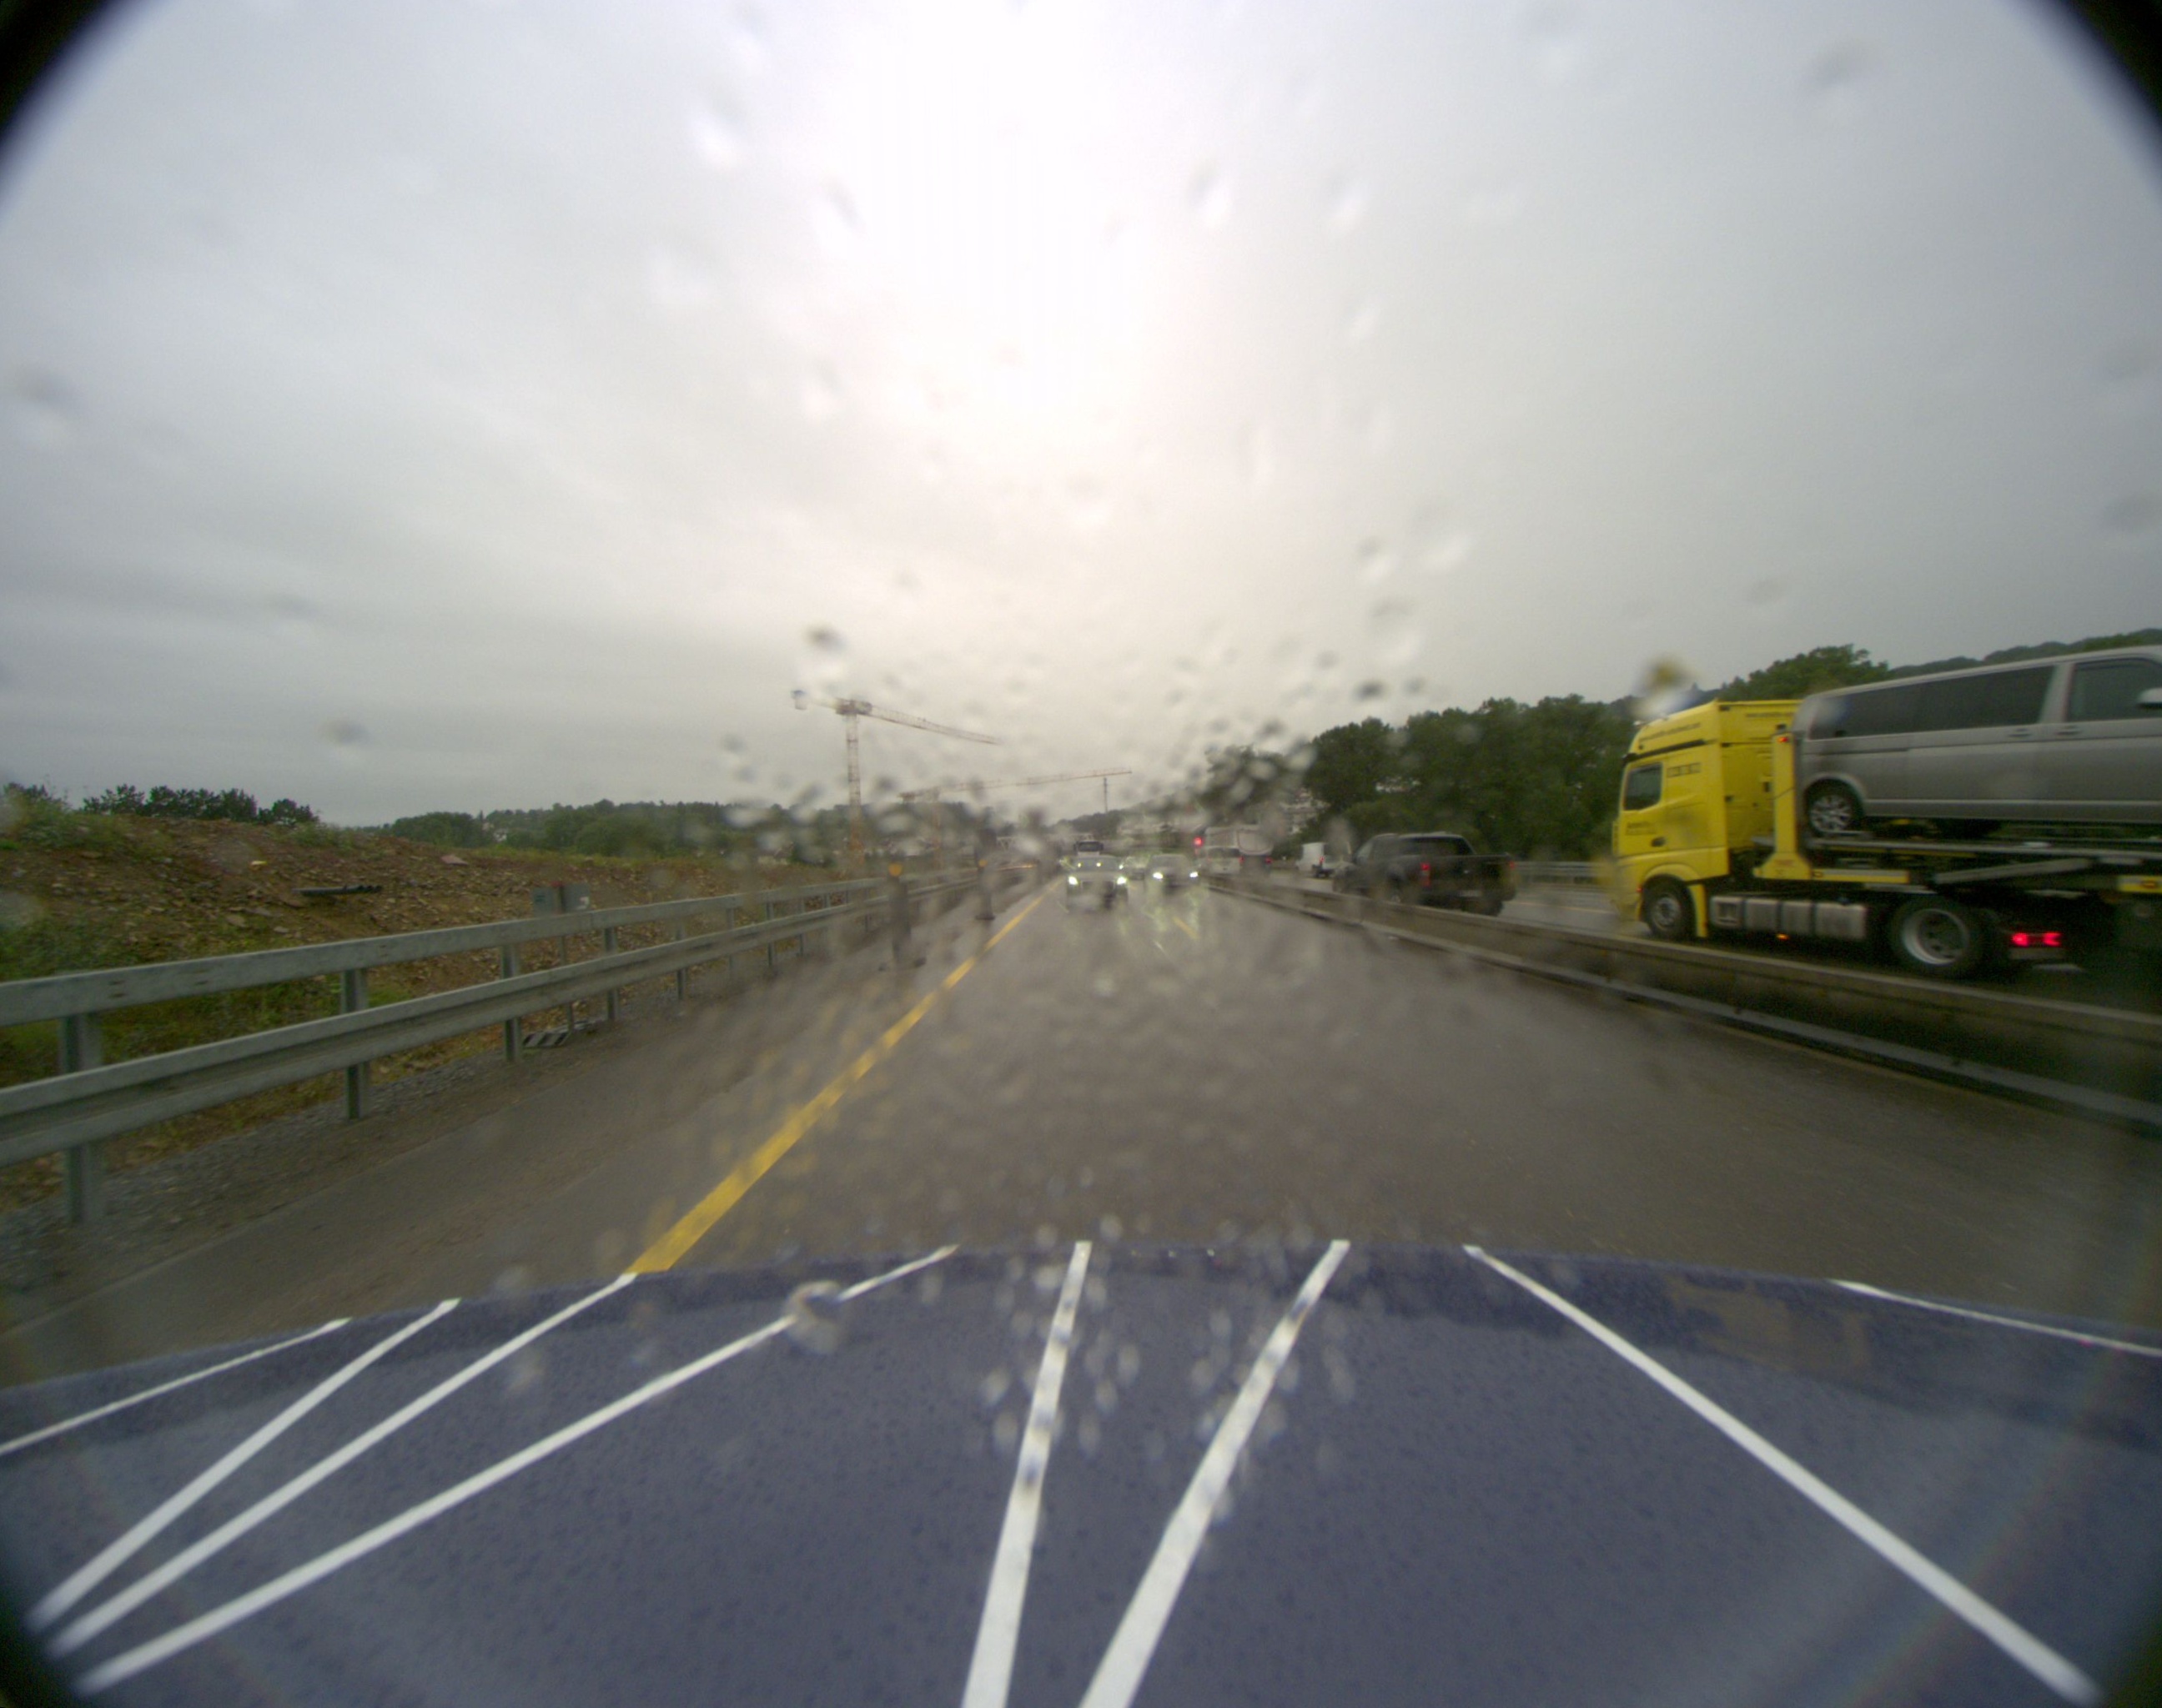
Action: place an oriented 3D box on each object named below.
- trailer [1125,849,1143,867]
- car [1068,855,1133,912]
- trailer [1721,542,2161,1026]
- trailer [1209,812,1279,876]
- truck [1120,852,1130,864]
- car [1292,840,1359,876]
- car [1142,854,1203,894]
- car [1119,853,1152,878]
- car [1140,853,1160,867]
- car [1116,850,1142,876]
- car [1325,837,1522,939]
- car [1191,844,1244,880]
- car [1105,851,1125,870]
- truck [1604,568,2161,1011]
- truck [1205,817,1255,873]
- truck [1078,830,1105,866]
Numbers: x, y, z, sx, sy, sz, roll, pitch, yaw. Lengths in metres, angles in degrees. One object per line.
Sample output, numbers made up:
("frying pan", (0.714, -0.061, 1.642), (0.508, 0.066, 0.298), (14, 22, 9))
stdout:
("trailer", (12.192, 1.039, 176.294), (3.285, 3.885, 13.701), (-1, -1, 1))
("car", (0.578, 0.825, 23.197), (1.781, 1.514, 4.141), (-1, 0, 1))
("trailer", (10.336, -0.598, 2.990), (2.756, 4.018, 15.358), (-1, 0, 0))
("trailer", (10.854, -0.624, 51.677), (2.692, 3.940, 9.819), (0, 0, 0))
("truck", (13.323, 1.148, 229.878), (2.607, 3.605, 6.539), (-1, 0, 1))
("car", (14.482, 0.209, 45.394), (2.271, 2.002, 5.045), (-1, 0, -1))
("car", (3.556, 0.745, 30.223), (1.951, 1.430, 4.483), (-1, 0, 1))
("car", (3.387, 0.682, 47.694), (1.781, 1.430, 4.483), (-1, 0, 1))
("car", (8.288, 0.689, 91.185), (1.998, 1.646, 4.470), (0, 0, 0))
("car", (3.975, 0.718, 62.114), (1.998, 2.001, 4.002), (-1, -1, 4))
("car", (6.828, 0.583, 15.883), (1.792, 1.795, 5.189), (0, 0, 0))
("car", (7.277, 0.388, 41.083), (1.879, 1.782, 5.359), (-1, 0, 0))
("car", (3.925, 0.769, 87.723), (1.998, 2.001, 4.188), (-2, -2, 0))
("truck", (10.409, -0.611, 10.031), (2.756, 4.038, 6.147), (-1, 0, 0))
("truck", (10.854, -0.640, 55.833), (2.693, 3.904, 5.273), (0, 0, 0))
("truck", (1.120, -0.614, 79.120), (2.575, 3.450, 6.627), (-1, 0, 1))
